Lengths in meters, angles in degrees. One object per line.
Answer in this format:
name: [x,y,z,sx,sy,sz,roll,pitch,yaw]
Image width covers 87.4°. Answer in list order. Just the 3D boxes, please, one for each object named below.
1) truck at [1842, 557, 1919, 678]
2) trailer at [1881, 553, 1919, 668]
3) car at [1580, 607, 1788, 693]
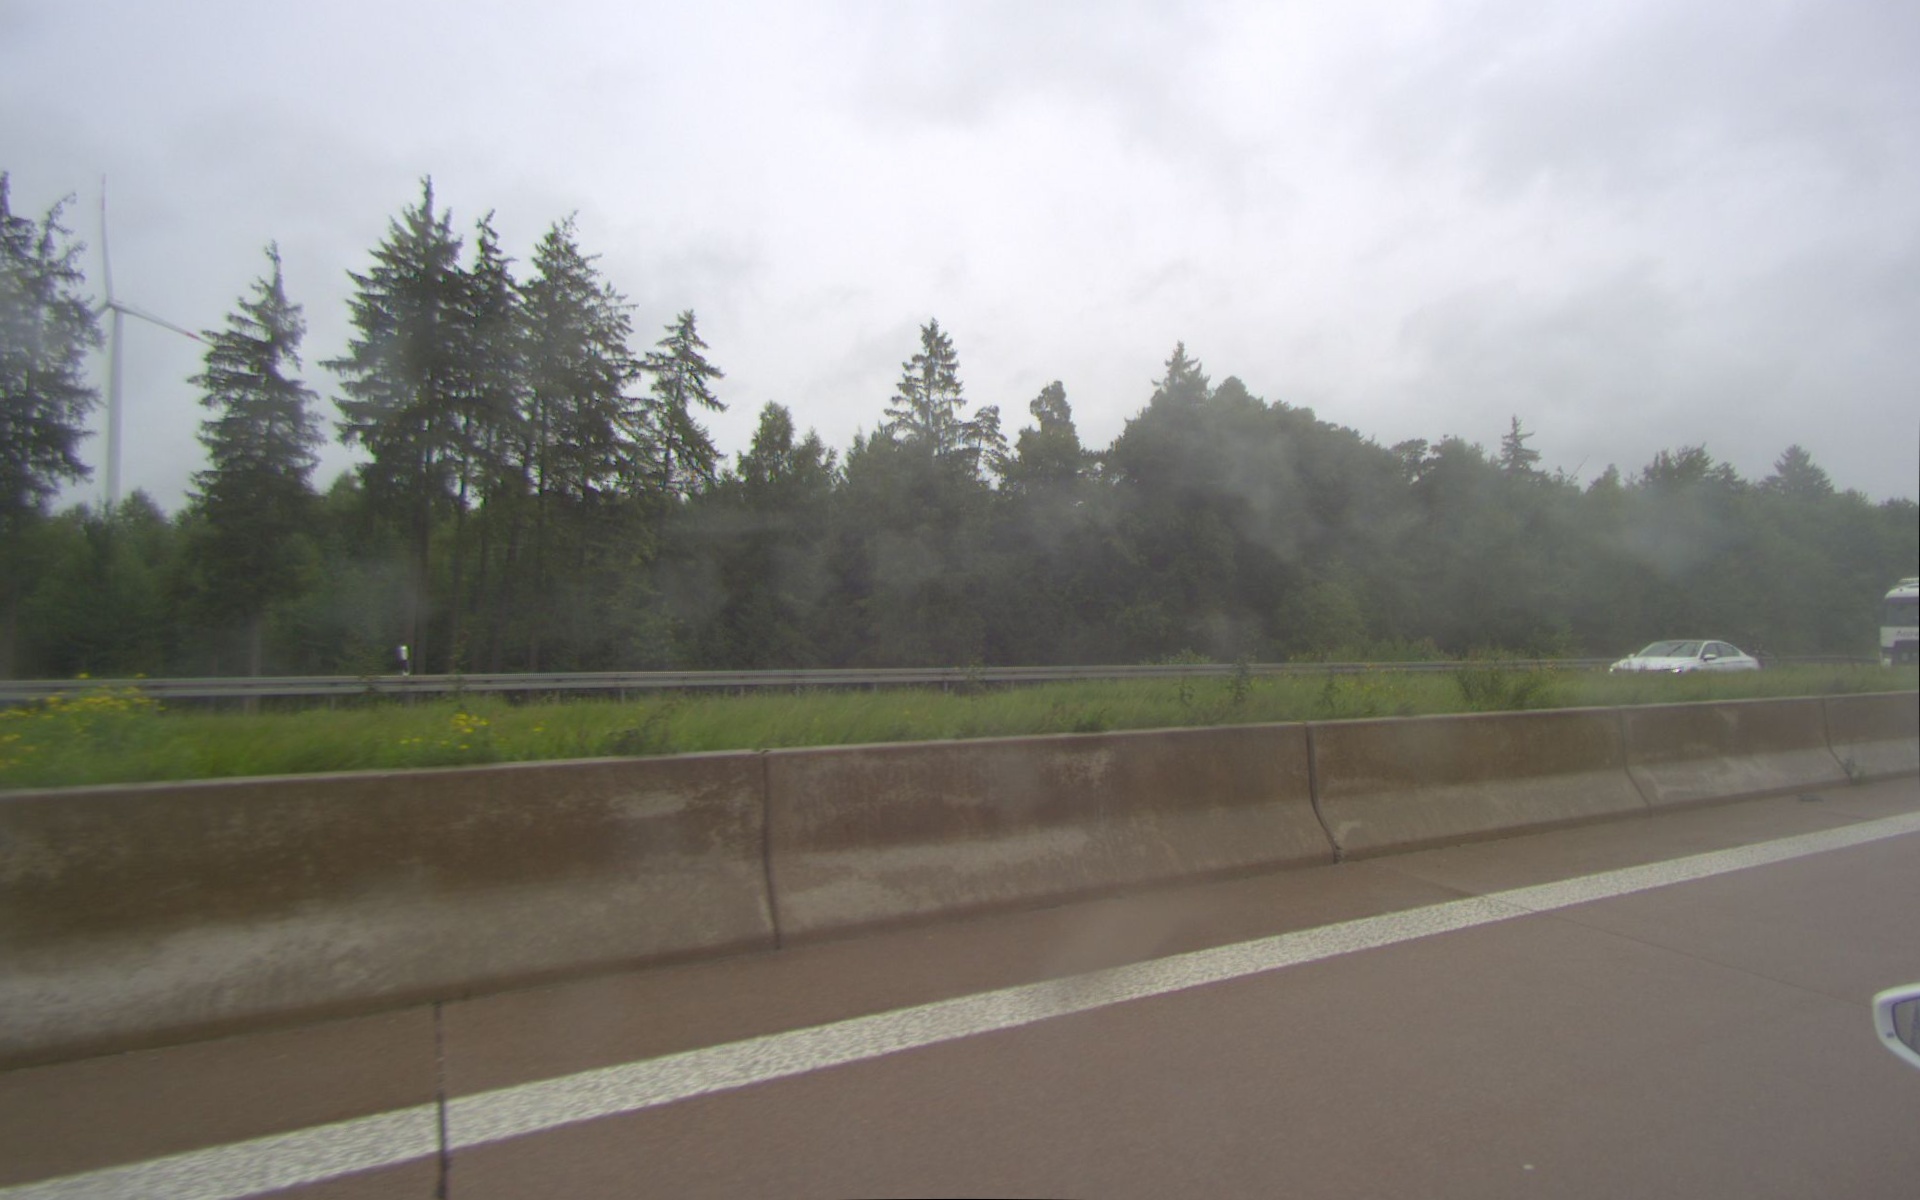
truck: [41.952,0.826,43.323,7.168,4.935,3.663,2,0,-30]
trailer: [48.264,0.614,46.898,13.517,5.019,3.737,1,0,-30]
car: [19.010,1.256,26.298,5.688,2.004,2.295,1,0,-30]
